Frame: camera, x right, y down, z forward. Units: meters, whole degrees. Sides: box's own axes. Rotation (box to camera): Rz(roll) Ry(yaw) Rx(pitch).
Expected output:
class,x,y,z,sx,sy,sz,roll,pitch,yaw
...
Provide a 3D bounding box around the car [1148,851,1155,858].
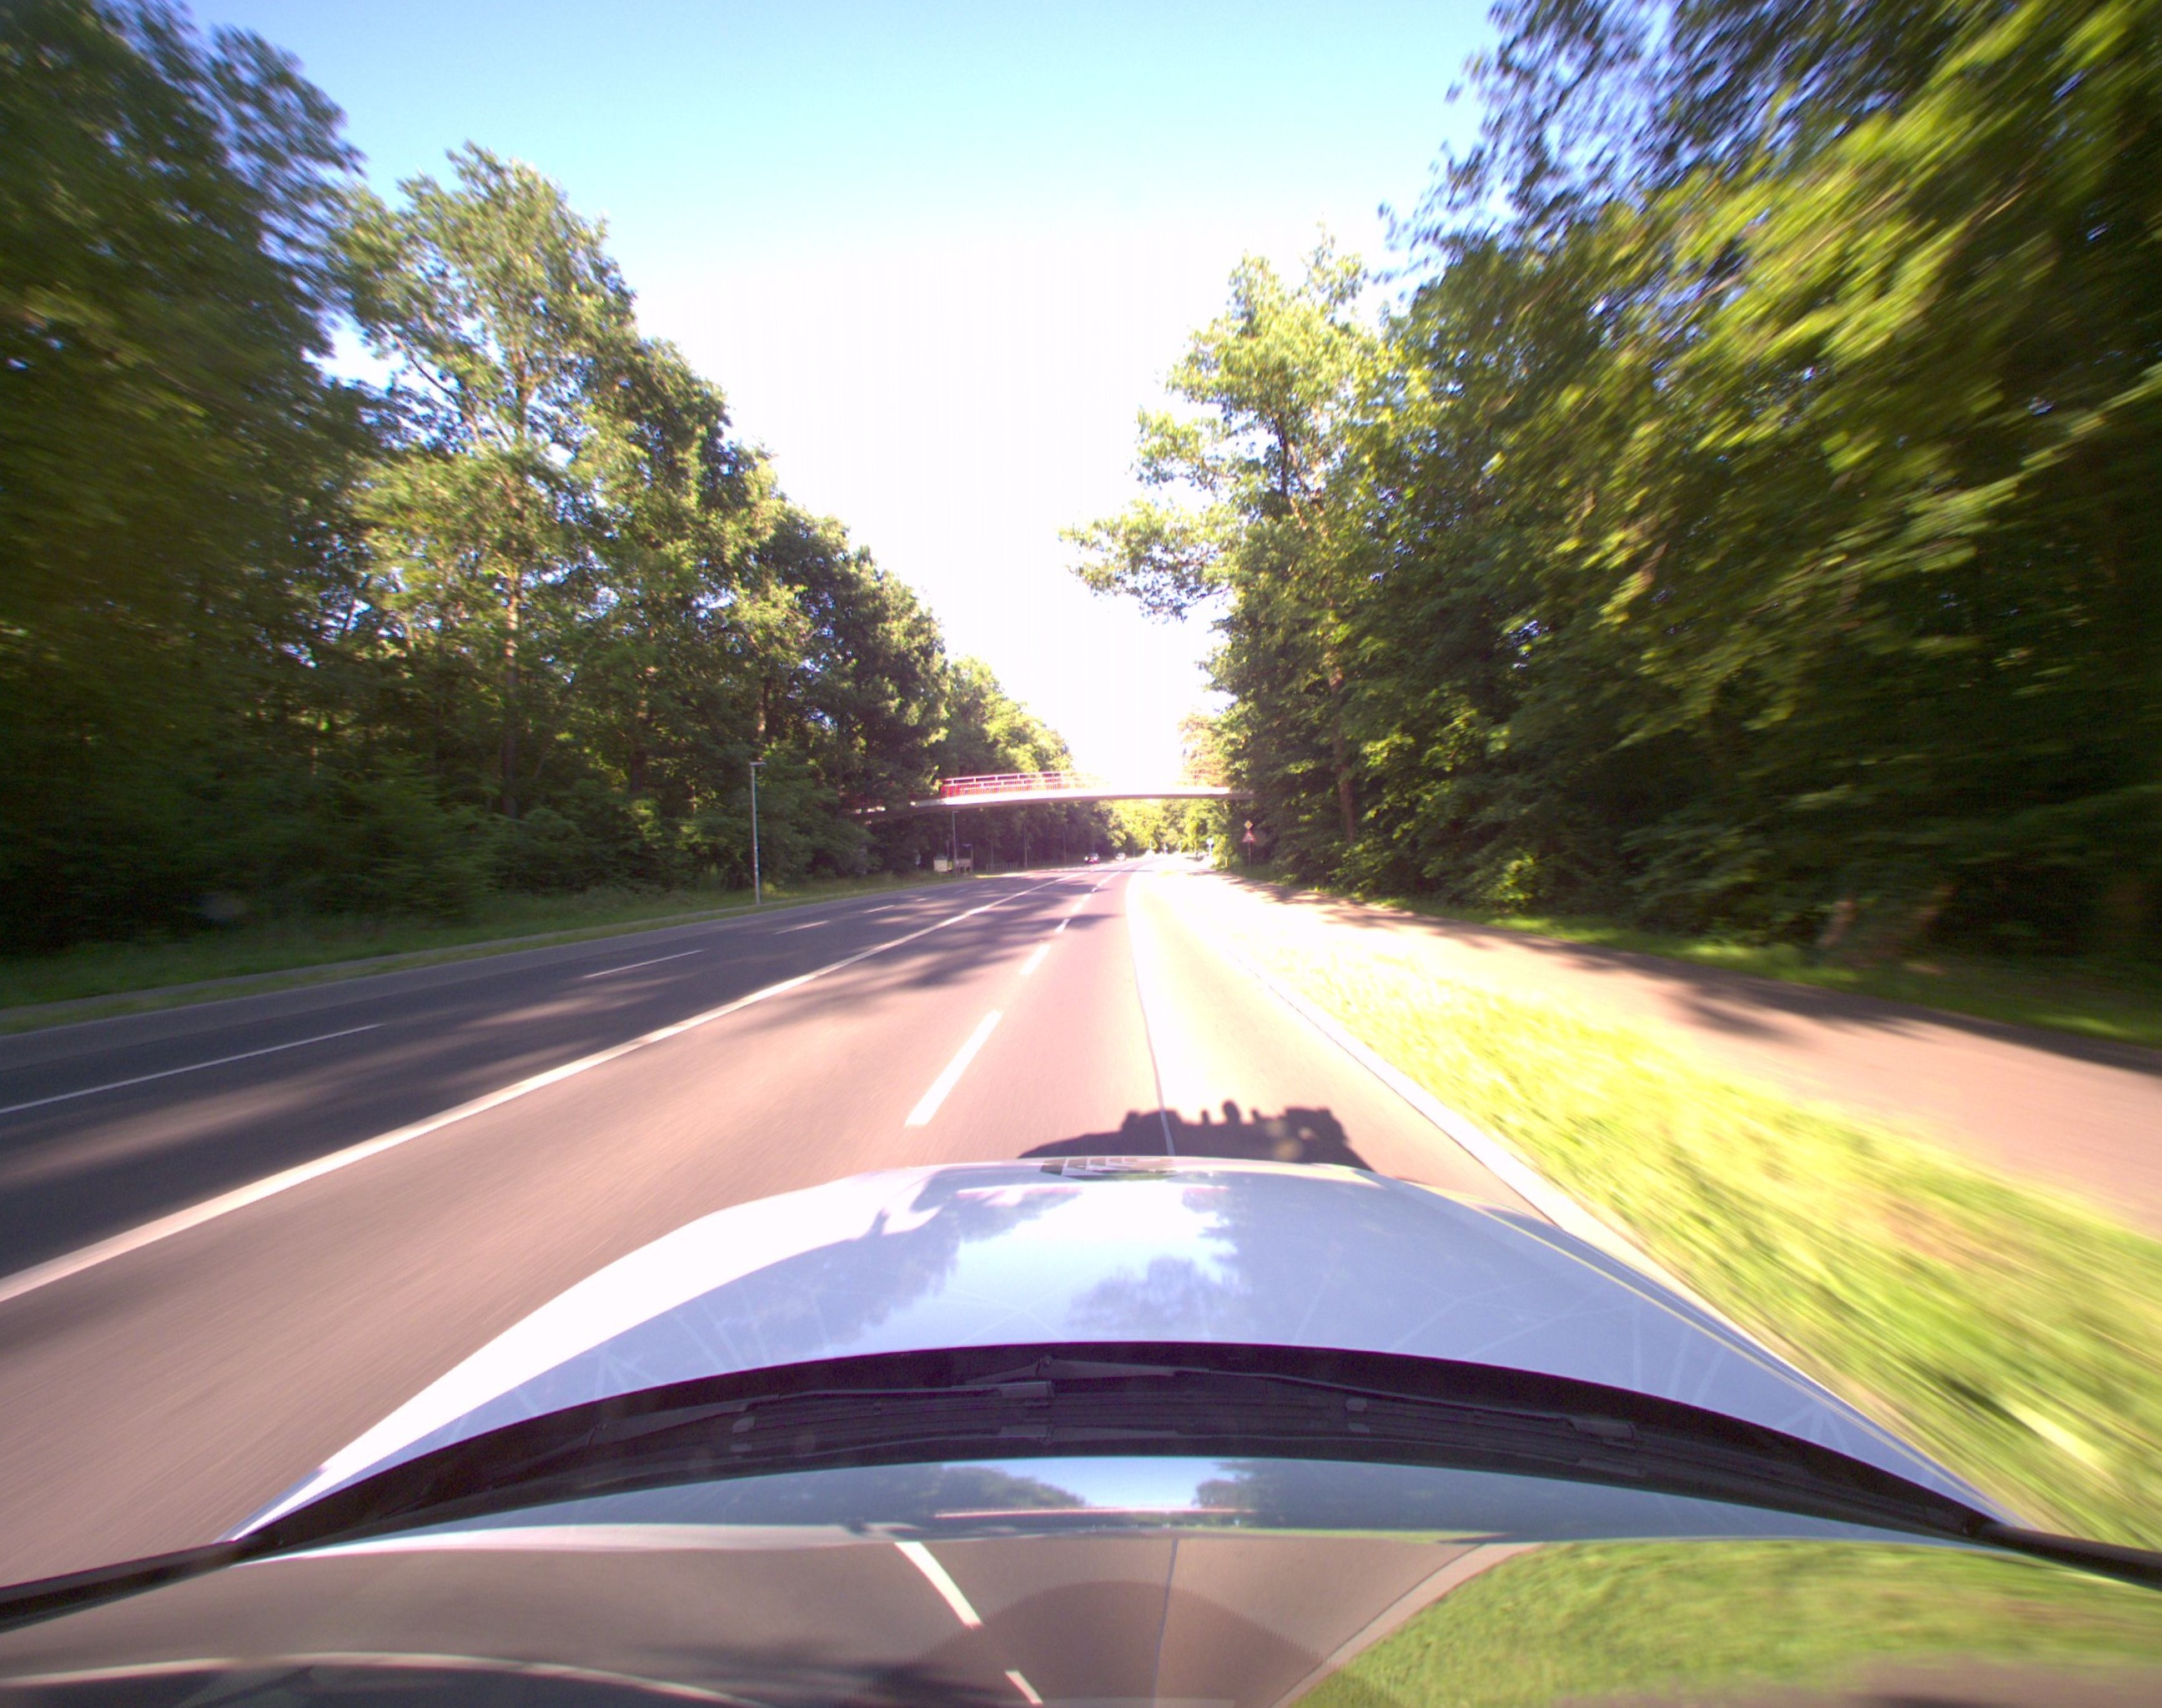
class,x,y,z,sx,sy,sz,roll,pitch,yaw
car,18.103,0.129,209.817,1.697,1.709,4.006,-2,0,5

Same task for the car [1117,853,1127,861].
class,x,y,z,sx,sy,sz,roll,pitch,yaw
car,8.126,0.520,161.703,1.714,1.574,4.185,0,0,6

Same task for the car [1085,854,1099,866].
class,x,y,z,sx,sy,sz,roll,pitch,yaw
car,1.681,0.893,122.413,1.753,1.582,4.175,-1,0,6
